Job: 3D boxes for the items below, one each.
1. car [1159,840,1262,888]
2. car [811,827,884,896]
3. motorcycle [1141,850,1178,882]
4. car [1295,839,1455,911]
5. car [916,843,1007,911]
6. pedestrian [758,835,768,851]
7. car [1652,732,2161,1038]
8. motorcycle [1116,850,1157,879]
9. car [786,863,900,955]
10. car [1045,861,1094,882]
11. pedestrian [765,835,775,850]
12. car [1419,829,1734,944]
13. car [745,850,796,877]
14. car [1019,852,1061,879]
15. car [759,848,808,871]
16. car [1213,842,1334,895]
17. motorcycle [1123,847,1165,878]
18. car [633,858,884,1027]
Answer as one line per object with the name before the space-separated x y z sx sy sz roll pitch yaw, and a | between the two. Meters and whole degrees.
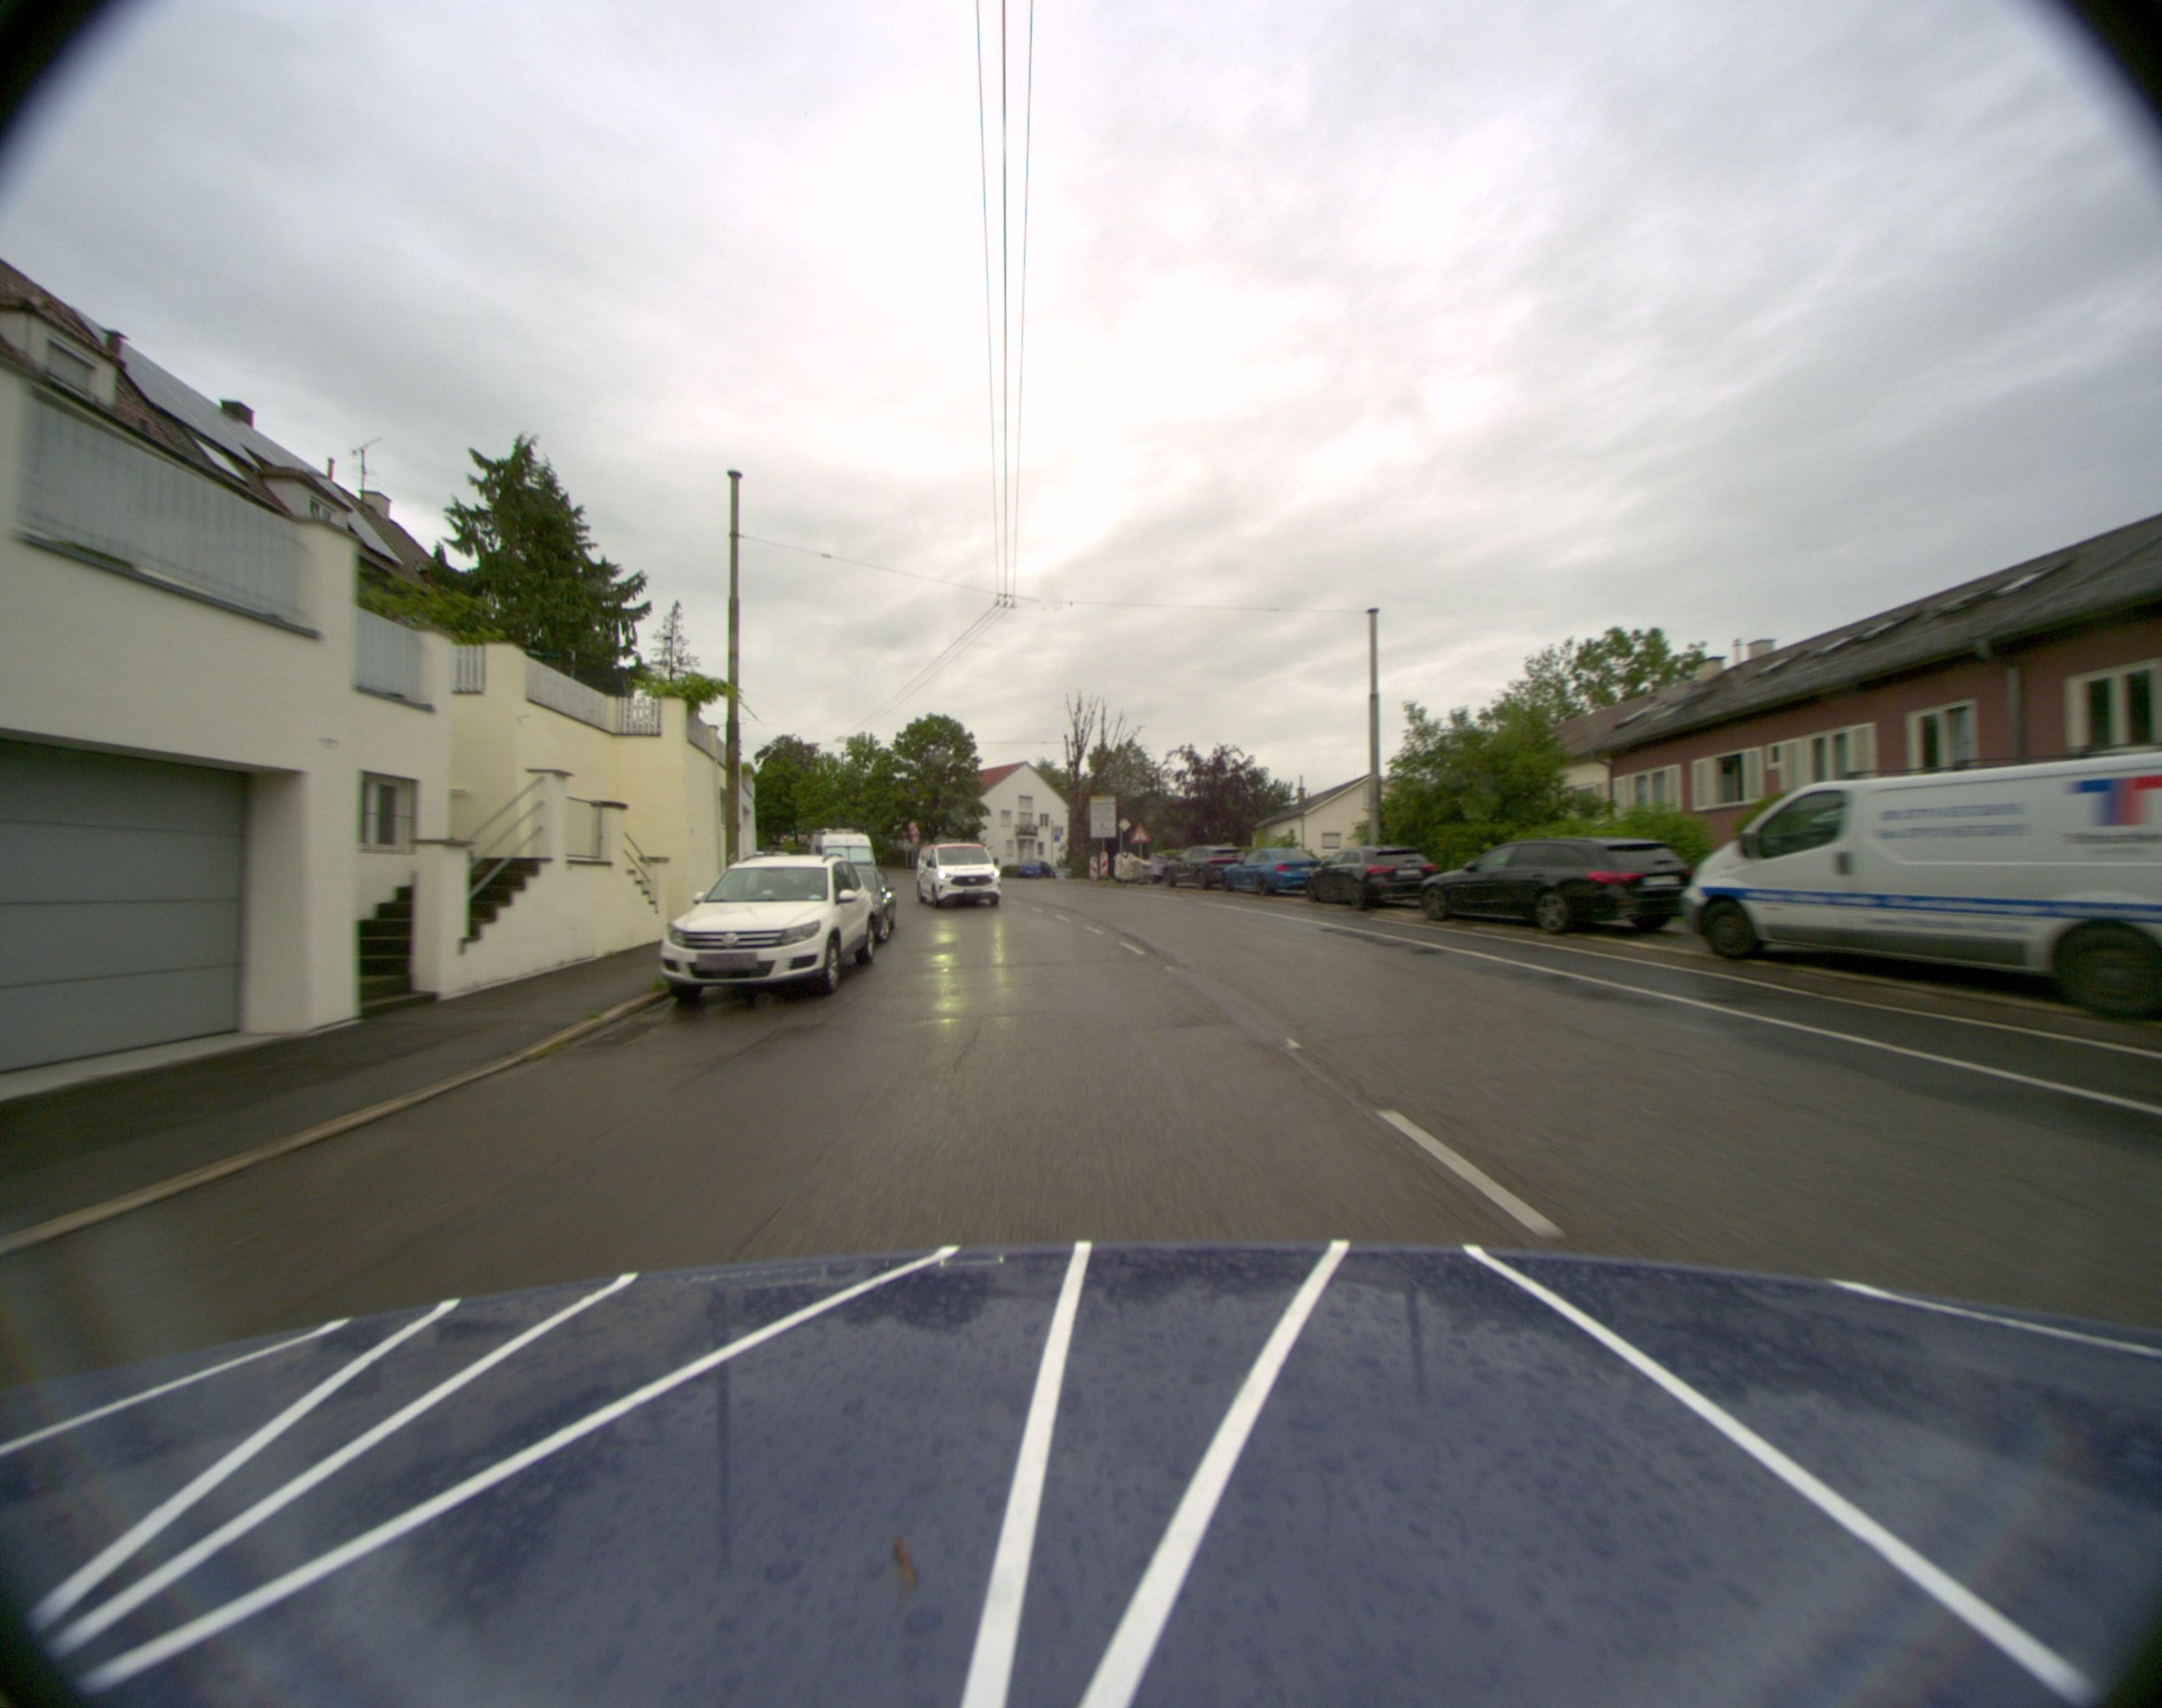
car | 4.741 0.340 28.572 1.929 1.568 4.380 -3 1 -18
car | -9.567 0.231 30.783 2.108 2.528 5.607 1 1 -25
motorcycle | 3.416 0.506 32.826 0.574 1.264 1.910 -1 1 39
car | 6.870 0.418 18.354 1.813 1.468 4.520 -2 1 -4
car | -3.955 0.656 24.473 2.045 1.928 4.507 -2 1 -20
pedestrian | -36.994 -1.254 88.339 0.711 1.806 1.144 -1 2 -42
car | 8.195 0.153 7.110 1.853 2.067 5.019 -2 1 -1
motorcycle | 2.595 0.493 35.437 1.809 1.272 0.510 -2 1 -20
car | -4.781 1.009 15.805 1.684 1.475 4.197 -2 1 -10
car | -0.820 1.304 57.742 1.836 1.485 4.089 2 1 30
pedestrian | -36.372 -1.343 88.839 0.684 1.806 1.152 -1 2 -42
car | 7.673 0.406 12.438 1.814 1.468 4.519 -2 1 -7
car | -18.392 0.542 44.930 1.714 1.406 4.029 1 1 -39
car | -2.754 0.747 52.030 1.838 1.657 3.945 2 2 12
car | -20.210 0.363 51.484 1.994 1.428 4.502 0 1 -36
car | 5.859 0.415 23.687 1.705 1.397 4.467 -3 1 -14
motorcycle | 2.817 0.395 33.986 1.805 1.296 0.614 -2 1 8
car | -3.879 0.920 9.990 1.809 1.640 4.207 -1 1 -6
